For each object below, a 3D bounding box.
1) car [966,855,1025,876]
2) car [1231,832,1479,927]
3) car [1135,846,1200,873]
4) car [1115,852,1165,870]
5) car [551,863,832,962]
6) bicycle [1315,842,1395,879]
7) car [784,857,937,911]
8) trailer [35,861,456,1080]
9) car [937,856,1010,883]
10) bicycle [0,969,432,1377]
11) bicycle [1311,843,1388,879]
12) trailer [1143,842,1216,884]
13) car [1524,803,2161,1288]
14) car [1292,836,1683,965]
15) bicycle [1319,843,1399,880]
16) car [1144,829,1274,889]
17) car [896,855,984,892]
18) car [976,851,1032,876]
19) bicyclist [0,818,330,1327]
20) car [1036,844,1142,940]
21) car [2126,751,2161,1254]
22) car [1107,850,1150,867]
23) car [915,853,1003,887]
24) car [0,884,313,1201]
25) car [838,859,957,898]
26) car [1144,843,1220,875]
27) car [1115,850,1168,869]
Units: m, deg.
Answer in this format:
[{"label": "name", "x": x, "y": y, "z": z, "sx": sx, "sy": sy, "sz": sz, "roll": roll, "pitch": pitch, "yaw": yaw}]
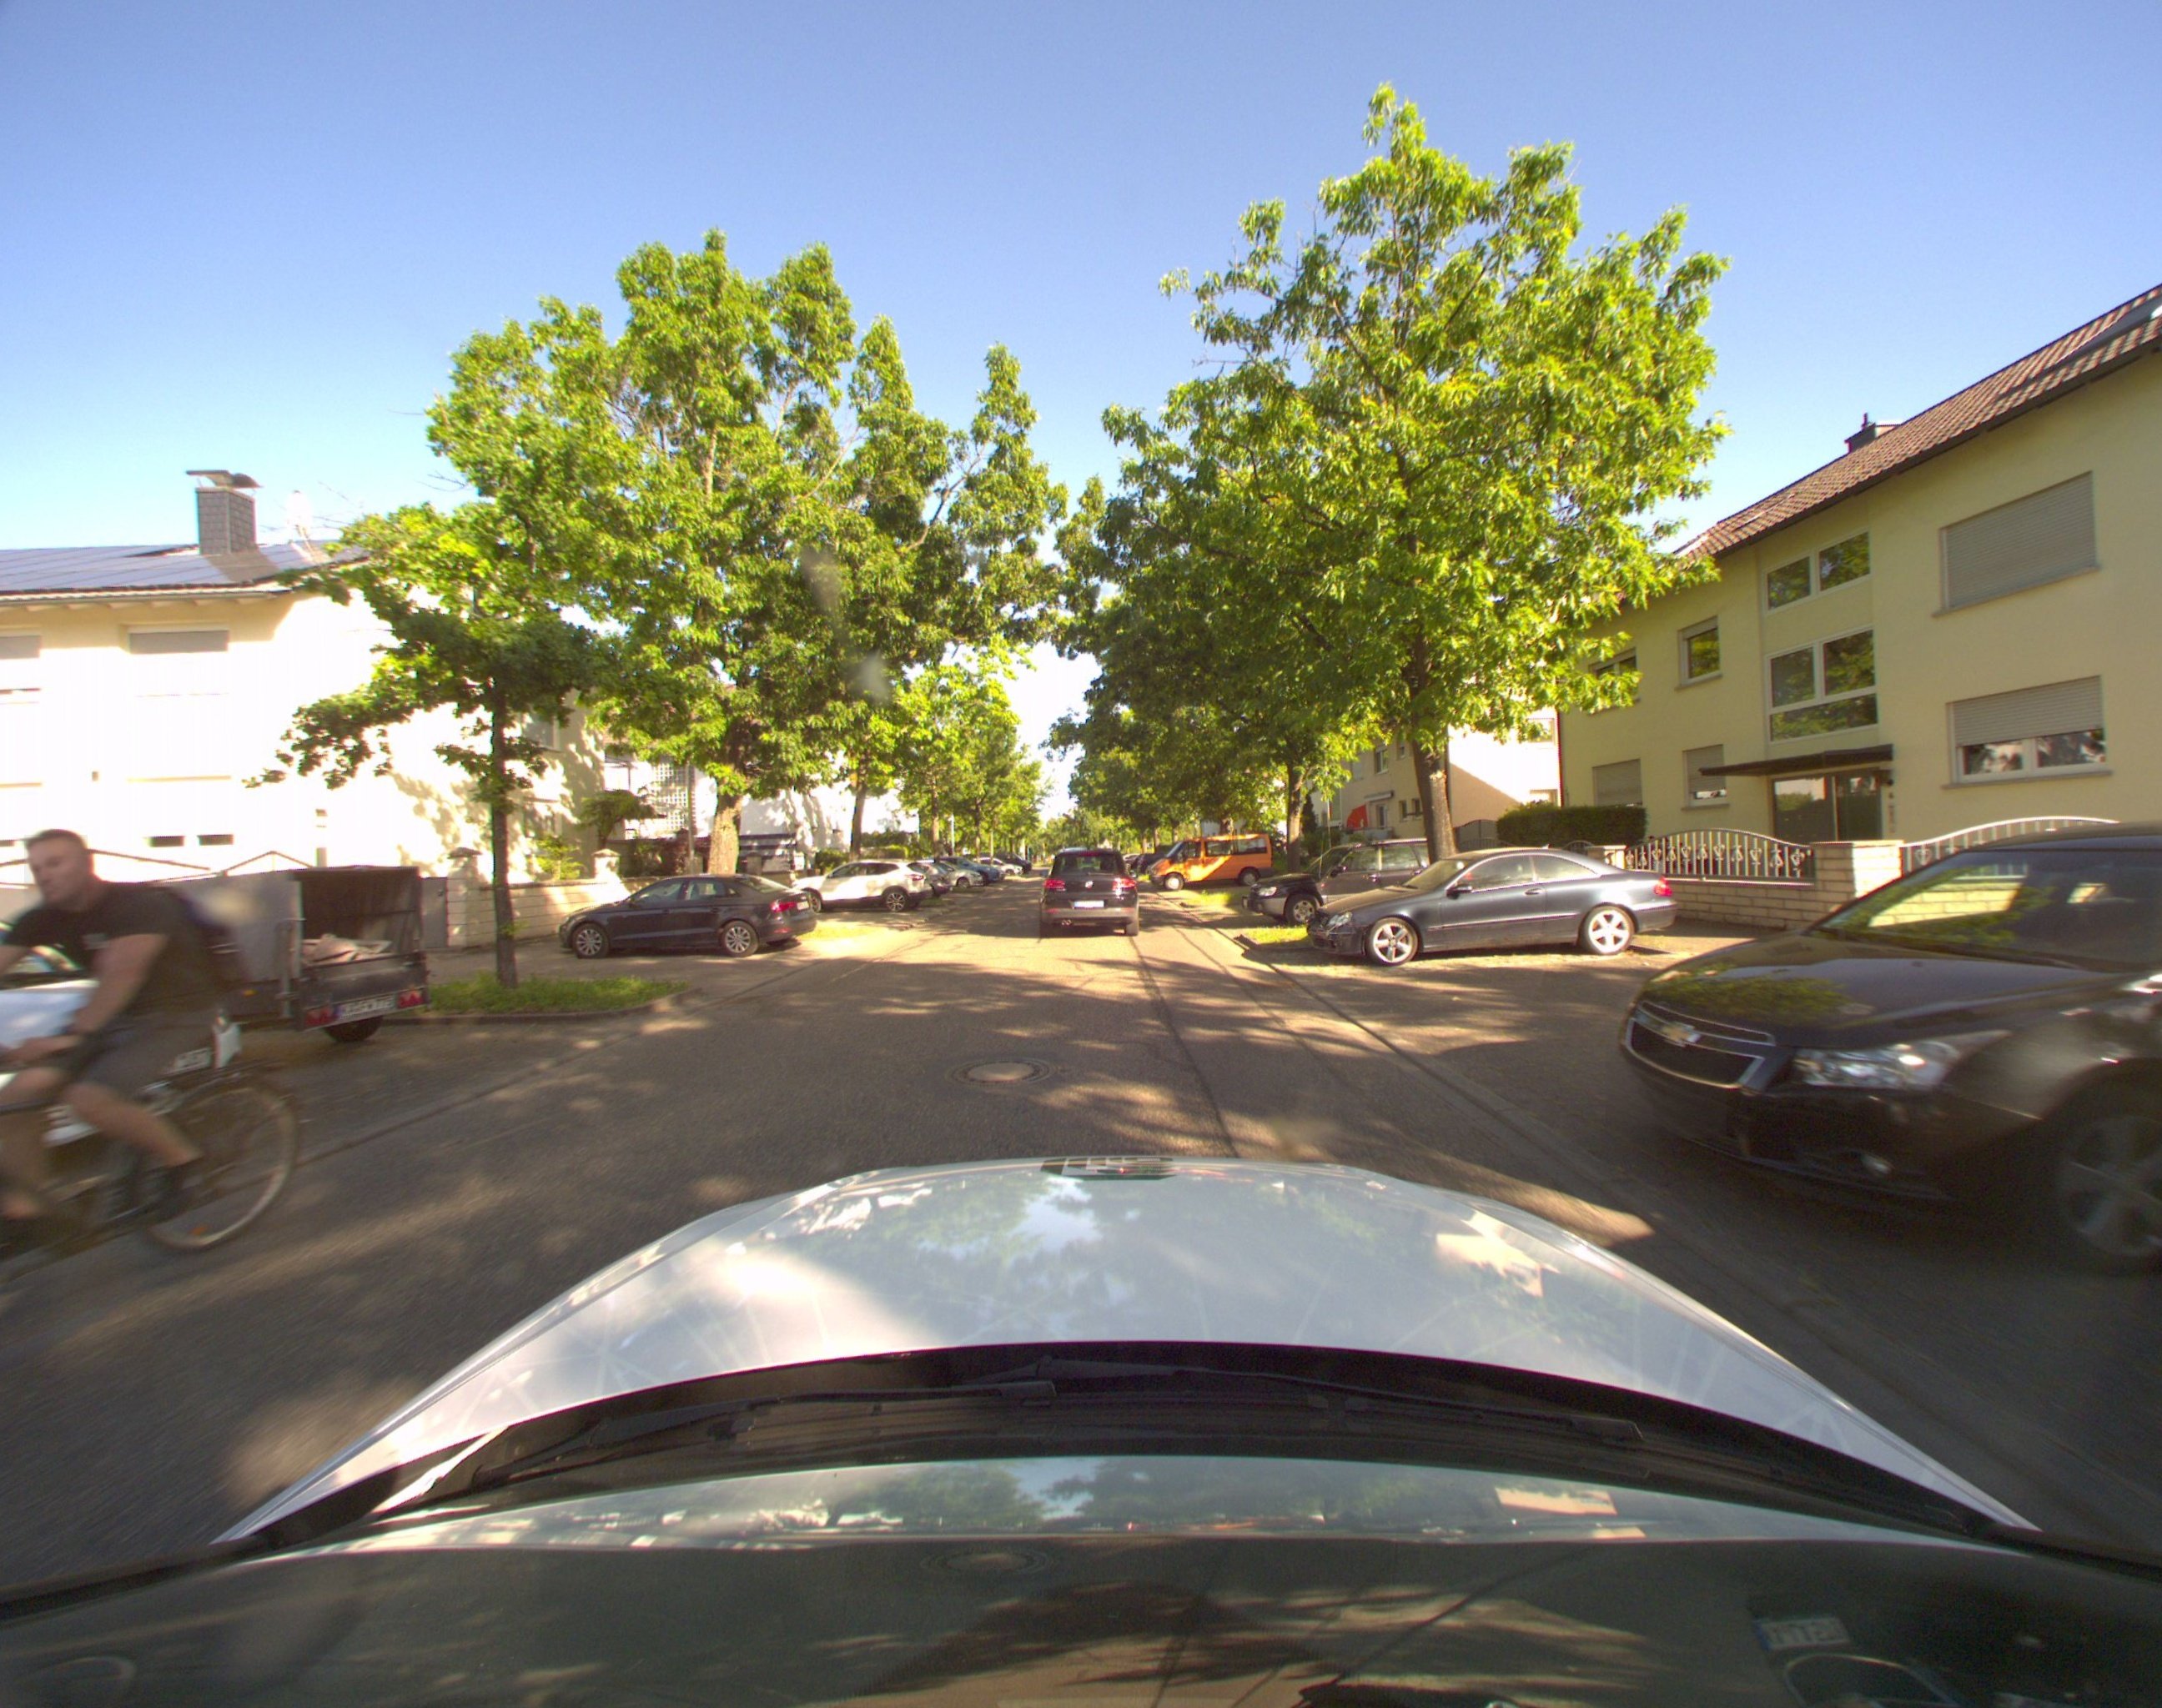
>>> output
[{"label": "car", "x": -6.393, "y": 0.868, "z": 61.337, "sx": 4.262, "sy": 1.478, "sz": 1.768, "roll": -1, "pitch": 0, "yaw": -1}, {"label": "car", "x": 5.375, "y": 0.483, "z": 16.391, "sx": 4.324, "sy": 1.560, "sz": 1.867, "roll": -3, "pitch": 0, "yaw": -1}, {"label": "car", "x": 5.432, "y": 0.341, "z": 51.527, "sx": 3.869, "sy": 1.516, "sz": 1.661, "roll": -3, "pitch": 0, "yaw": 0}, {"label": "car", "x": 5.246, "y": 0.589, "z": 73.006, "sx": 4.263, "sy": 1.414, "sz": 1.796, "roll": -3, "pitch": 0, "yaw": -1}, {"label": "car", "x": -6.923, "y": 1.006, "z": 14.765, "sx": 4.196, "sy": 1.471, "sz": 1.690, "roll": -3, "pitch": 0, "yaw": 0}, {"label": "bicycle", "x": 10.644, "y": 0.261, "z": 31.687, "sx": 2.849, "sy": 1.237, "sz": 0.468, "roll": -4, "pitch": -1, "yaw": 0}, {"label": "car", "x": -6.710, "y": 0.886, "z": 25.108, "sx": 4.171, "sy": 1.567, "sz": 1.793, "roll": 0, "pitch": 0, "yaw": 2}, {"label": "trailer", "x": -7.288, "y": 0.952, "z": 7.266, "sx": 2.225, "sy": 1.673, "sz": 1.476, "roll": -2, "pitch": 0, "yaw": 5}, {"label": "car", "x": -6.544, "y": 0.934, "z": 49.844, "sx": 4.169, "sy": 1.492, "sz": 1.647, "roll": -2, "pitch": -1, "yaw": 0}, {"label": "bicycle", "x": -3.728, "y": 1.148, "z": 3.223, "sx": 0.594, "sy": 1.058, "sz": 1.987, "roll": -5, "pitch": 0, "yaw": 2}, {"label": "bicycle", "x": 10.607, "y": 0.273, "z": 32.185, "sx": 2.848, "sy": 1.237, "sz": 0.468, "roll": -3, "pitch": 0, "yaw": 0}, {"label": "trailer", "x": 4.480, "y": 0.417, "z": 37.201, "sx": 2.942, "sy": 1.664, "sz": 1.611, "roll": -4, "pitch": -1, "yaw": -6}, {"label": "car", "x": 4.676, "y": 0.558, "z": 3.659, "sx": 4.306, "sy": 1.530, "sz": 1.840, "roll": -4, "pitch": -1, "yaw": 0}, {"label": "car", "x": 5.301, "y": 0.589, "z": 11.080, "sx": 4.409, "sy": 1.331, "sz": 1.692, "roll": -4, "pitch": 0, "yaw": 3}, {"label": "bicycle", "x": 10.630, "y": 0.281, "z": 31.199, "sx": 2.848, "sy": 1.237, "sz": 0.468, "roll": -4, "pitch": -1, "yaw": 0}, {"label": "car", "x": 5.005, "y": 0.179, "z": 32.411, "sx": 4.803, "sy": 2.083, "sz": 2.086, "roll": -3, "pitch": 0, "yaw": 0}, {"label": "car", "x": -6.926, "y": 0.953, "z": 40.319, "sx": 3.974, "sy": 1.595, "sz": 1.857, "roll": -2, "pitch": -1, "yaw": 0}, {"label": "car", "x": -6.776, "y": 0.842, "z": 71.935, "sx": 4.767, "sy": 1.917, "sz": 2.017, "roll": -3, "pitch": 0, "yaw": -3}, {"label": "bicyclist", "x": -3.760, "y": 0.740, "z": 3.186, "sx": 0.593, "sy": 1.674, "sz": 0.976, "roll": -5, "pitch": 0, "yaw": 2}, {"label": "car", "x": 0.227, "y": 0.671, "z": 16.274, "sx": 1.831, "sy": 1.636, "sz": 3.960, "roll": -1, "pitch": 0, "yaw": 2}, {"label": "car", "x": 4.651, "y": 0.447, "z": 0.876, "sx": 4.557, "sy": 1.646, "sz": 1.839, "roll": -4, "pitch": 0, "yaw": 1}, {"label": "car", "x": 5.003, "y": 0.468, "z": 86.731, "sx": 4.415, "sy": 1.491, "sz": 1.796, "roll": -3, "pitch": 0, "yaw": -1}, {"label": "car", "x": -6.665, "y": 0.871, "z": 44.821, "sx": 4.509, "sy": 1.631, "sz": 1.937, "roll": -2, "pitch": -1, "yaw": 0}, {"label": "car", "x": -7.393, "y": 1.030, "z": 4.825, "sx": 3.975, "sy": 1.516, "sz": 1.690, "roll": -2, "pitch": 0, "yaw": -1}, {"label": "car", "x": -6.791, "y": 0.892, "z": 30.477, "sx": 4.022, "sy": 1.423, "sz": 1.809, "roll": 0, "pitch": 0, "yaw": -1}, {"label": "car", "x": 5.665, "y": 0.294, "z": 45.956, "sx": 3.977, "sy": 1.623, "sz": 1.756, "roll": -2, "pitch": -1, "yaw": -2}, {"label": "car", "x": 5.193, "y": 0.460, "z": 70.285, "sx": 4.333, "sy": 1.363, "sz": 1.872, "roll": -3, "pitch": -1, "yaw": -1}]
